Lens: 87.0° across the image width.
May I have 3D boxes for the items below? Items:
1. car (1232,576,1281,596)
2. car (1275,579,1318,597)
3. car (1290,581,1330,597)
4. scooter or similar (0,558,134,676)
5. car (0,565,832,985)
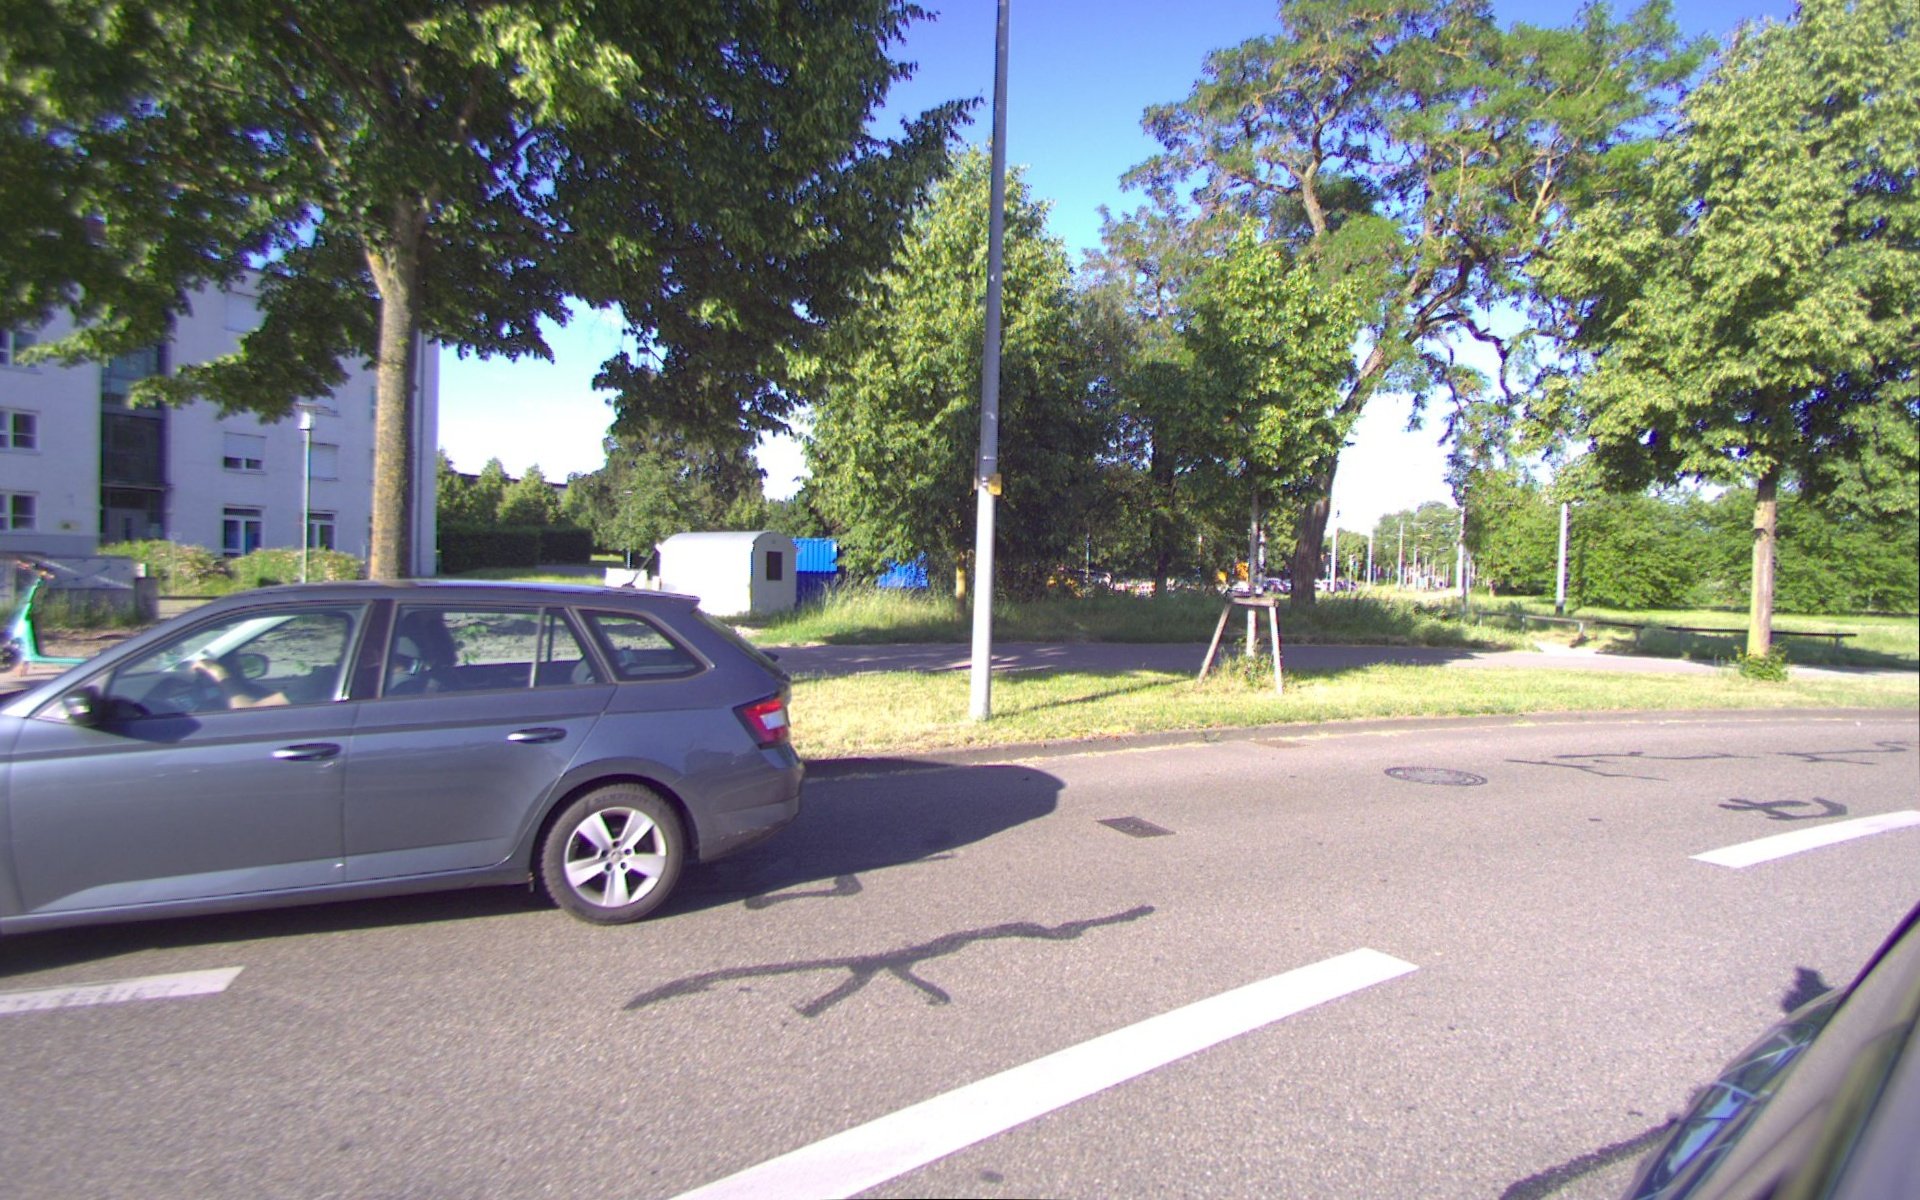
[{"bbox_3d":[26.792,-1.287,91.529,3.964,1.778,1.980,1,0,29],"label":"car"},{"bbox_3d":[34.790,-1.261,104.656,3.964,1.778,1.895,1,0,29],"label":"car"},{"bbox_3d":[38.981,-1.251,112.593,3.964,1.778,1.895,1,0,29],"label":"car"},{"bbox_3d":[-10.076,0.176,11.345,1.242,1.263,0.444,-1,1,-39],"label":"scooter or similar"},{"bbox_3d":[-2.785,0.596,4.629,4.064,1.454,1.723,0,1,-20],"label":"car"}]
